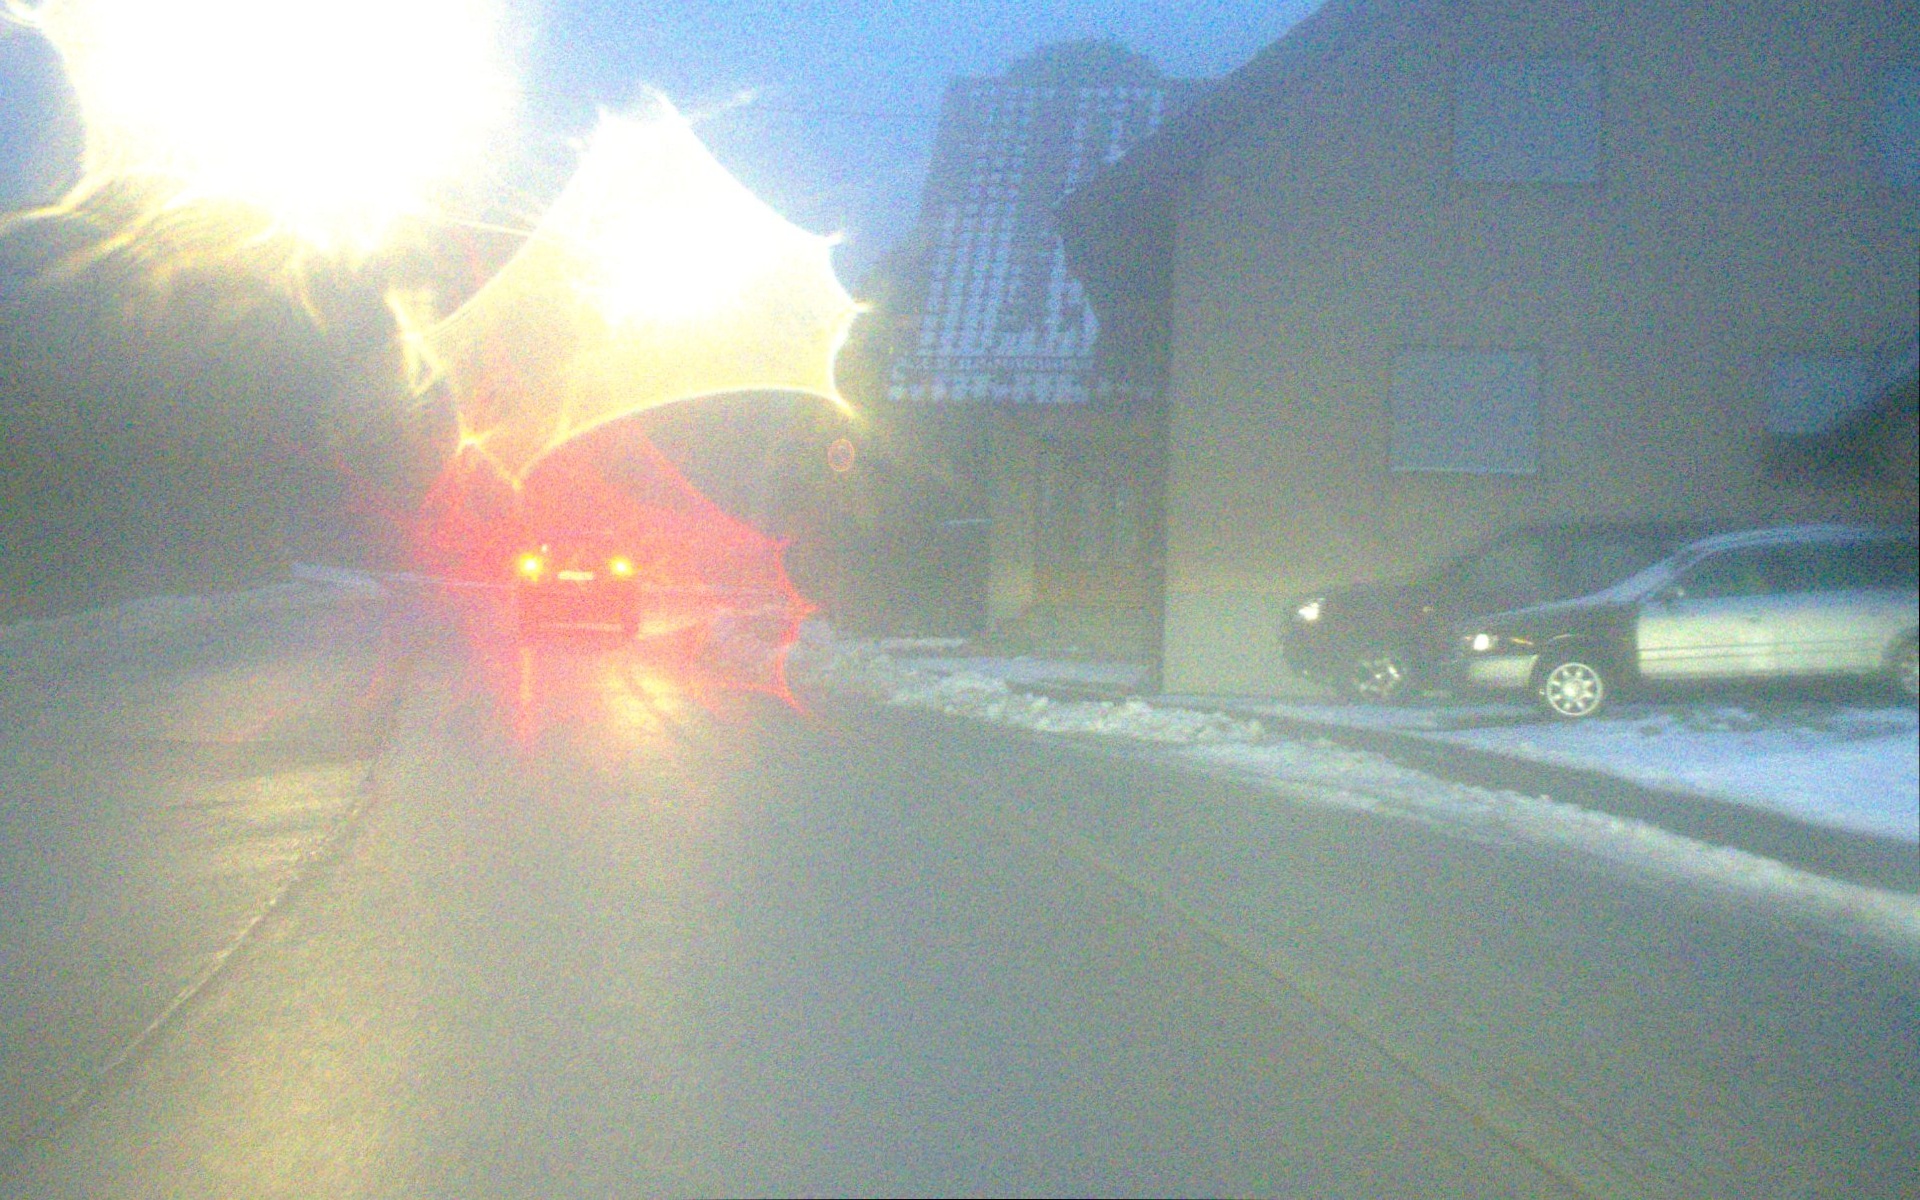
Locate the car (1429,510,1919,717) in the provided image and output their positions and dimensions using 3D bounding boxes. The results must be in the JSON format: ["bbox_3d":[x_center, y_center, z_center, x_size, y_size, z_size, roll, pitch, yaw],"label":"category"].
[{"bbox_3d":[5.906,0.140,27.469,4.244,1.554,1.999,-1,-2,7],"label":"car"}]

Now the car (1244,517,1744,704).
[{"bbox_3d":[4.648,0.121,30.424,4.158,1.554,1.946,-1,-2,2],"label":"car"}]

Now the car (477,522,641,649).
[{"bbox_3d":[-5.962,-0.182,50.736,1.993,1.731,3.879,0,-2,-13],"label":"car"}]
